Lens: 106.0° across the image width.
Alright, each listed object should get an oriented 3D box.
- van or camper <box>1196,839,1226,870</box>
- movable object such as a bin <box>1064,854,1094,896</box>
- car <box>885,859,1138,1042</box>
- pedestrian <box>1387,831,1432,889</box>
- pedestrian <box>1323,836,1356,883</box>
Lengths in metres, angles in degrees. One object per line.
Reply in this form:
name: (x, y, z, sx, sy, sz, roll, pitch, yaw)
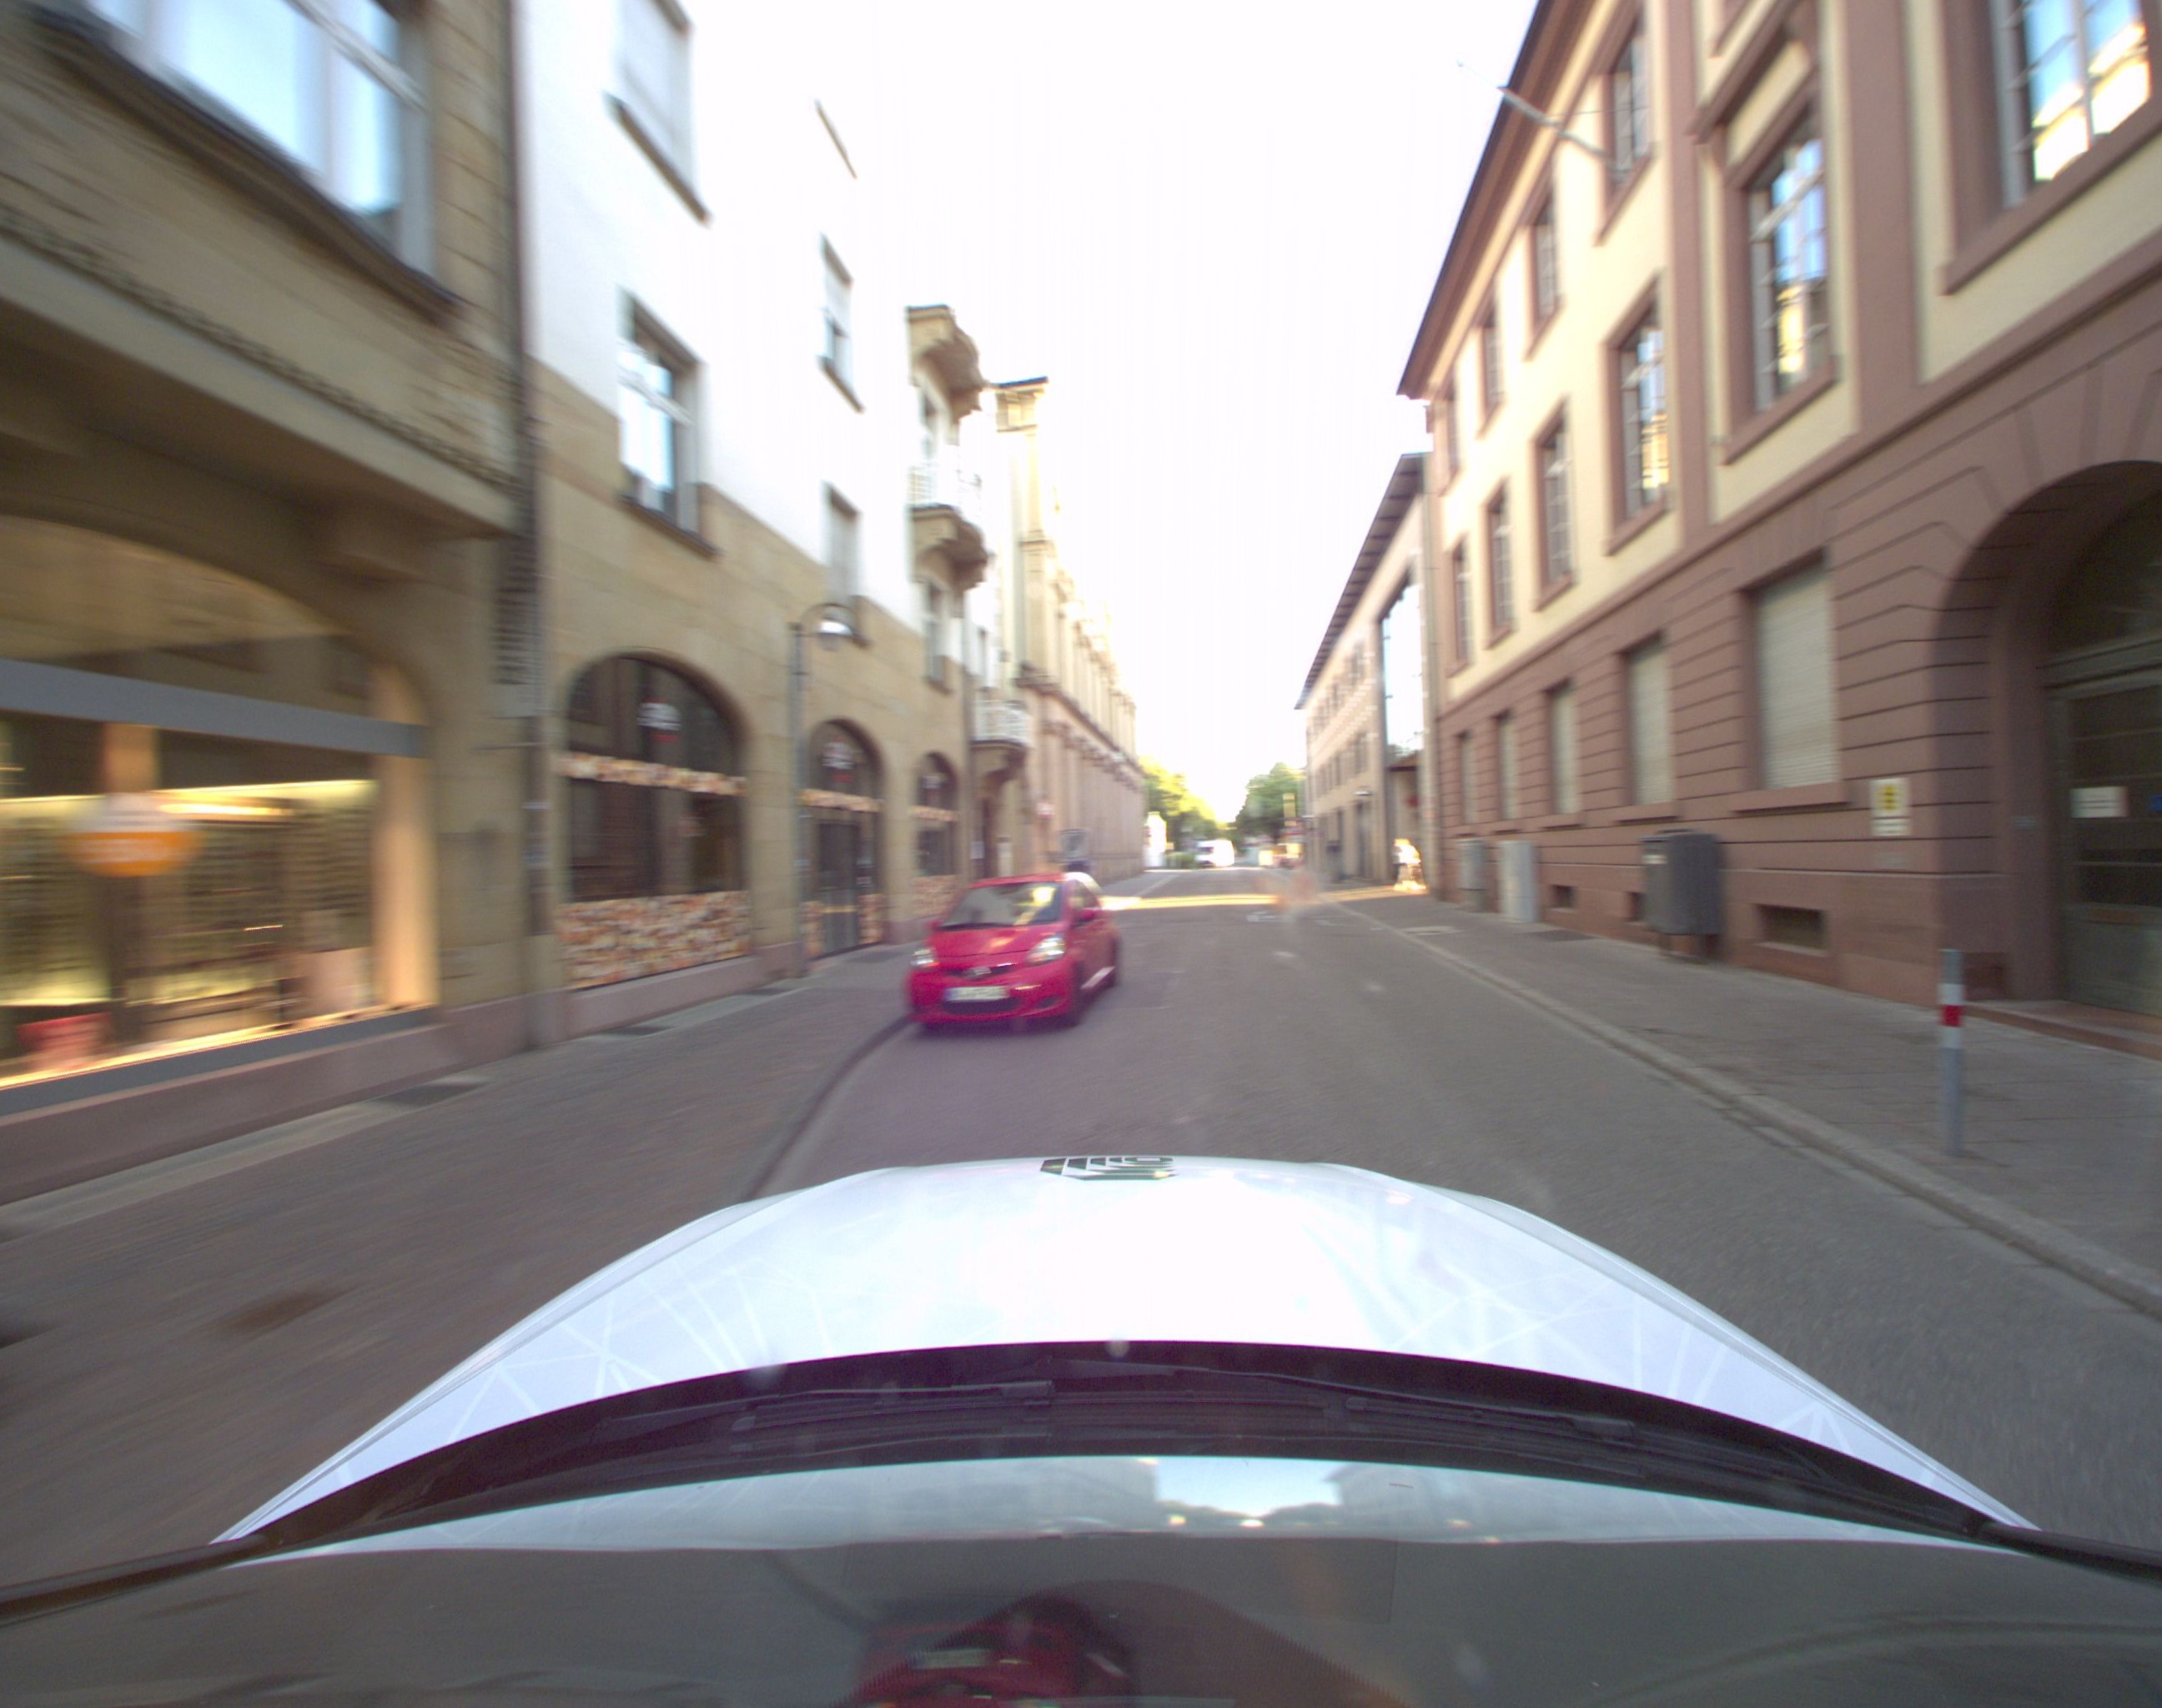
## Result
van or camper: (11.629, -0.001, 72.578, 2.204, 2.585, 6.394, -2, 0, 13)
movable object such as a bin: (-0.055, 0.753, 30.011, 0.823, 1.503, 1.295, -2, 0, 11)
car: (-0.497, 0.872, 9.062, 1.647, 1.469, 3.944, -5, -1, 11)
pedestrian: (10.604, 0.207, 26.331, 0.896, 1.803, 0.843, -4, -1, -17)
pedestrian: (10.585, 0.222, 33.395, 0.995, 1.803, 0.884, -6, -2, 9)
